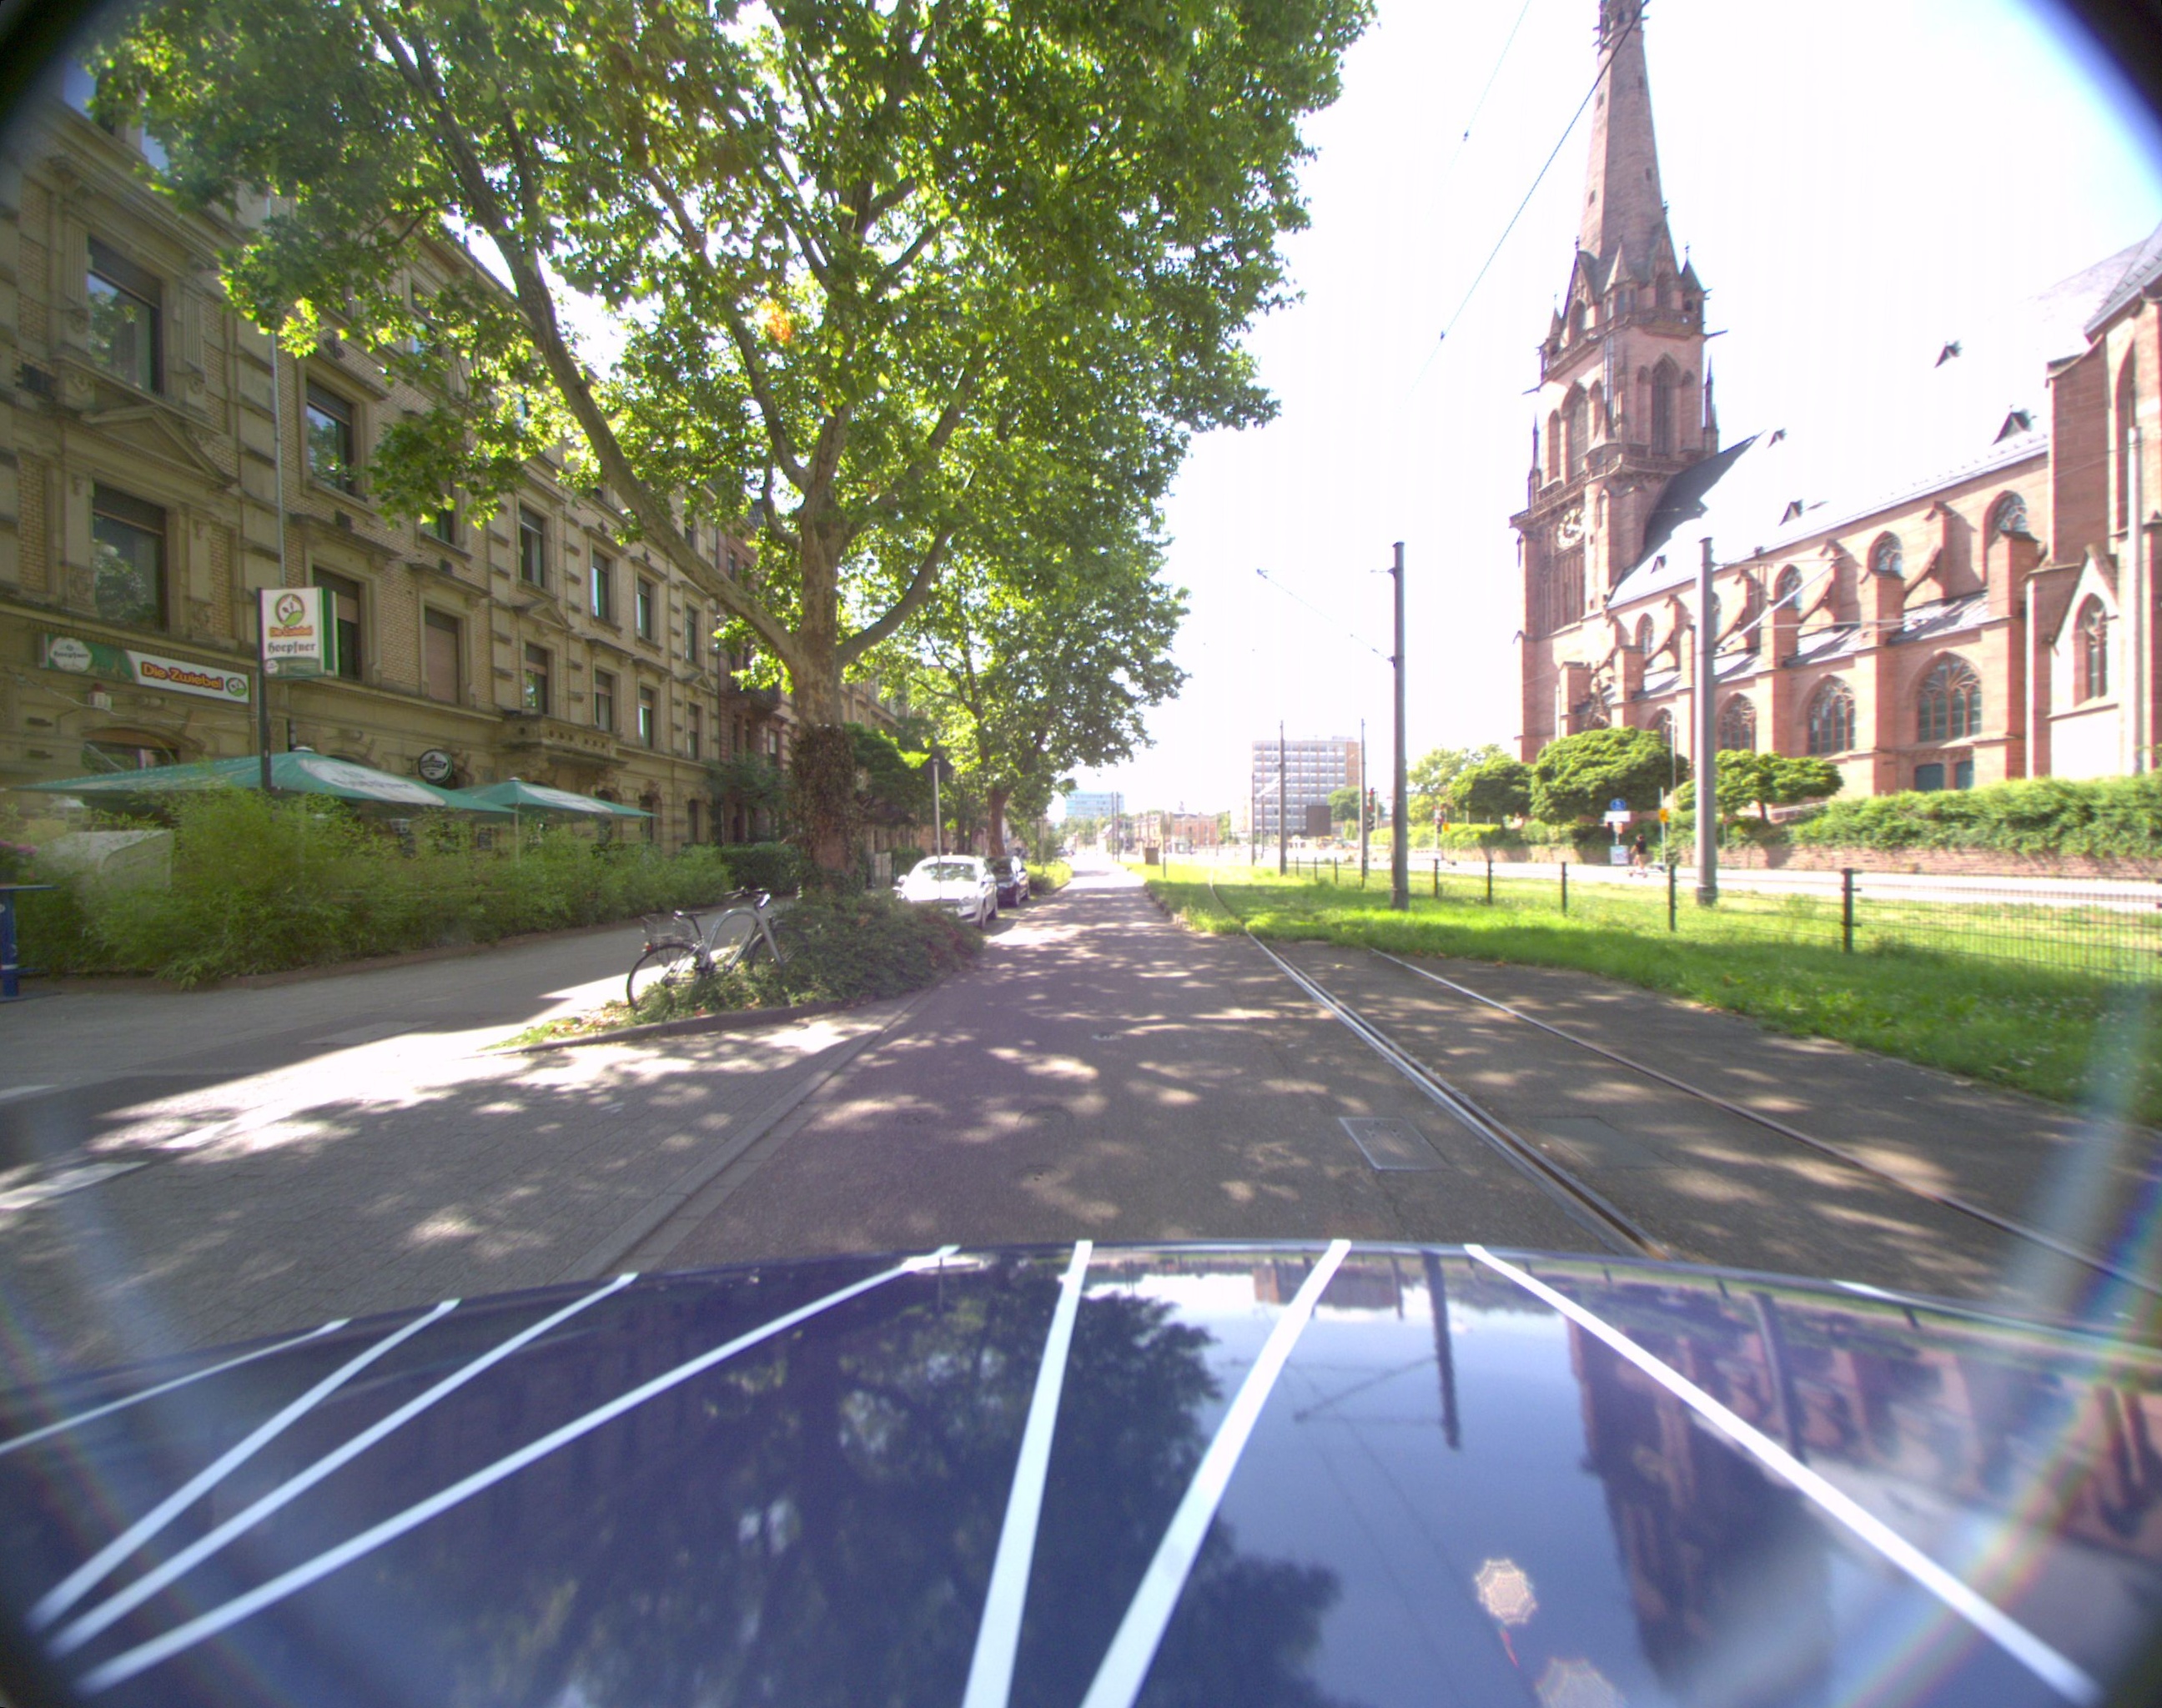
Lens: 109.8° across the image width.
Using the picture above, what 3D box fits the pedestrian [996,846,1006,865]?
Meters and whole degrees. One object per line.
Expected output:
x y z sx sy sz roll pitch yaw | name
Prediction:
-7.605 0.130 72.121 0.797 1.708 0.967 -1 1 1 | pedestrian

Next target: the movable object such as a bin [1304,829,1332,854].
37.992 -1.999 121.872 3.340 3.859 2.931 -1 1 -32 | movable object such as a bin

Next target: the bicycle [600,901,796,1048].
-3.511 1.050 7.108 0.421 1.099 1.619 0 1 33 | bicycle

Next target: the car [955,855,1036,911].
-2.517 0.808 23.381 1.838 1.499 4.643 -1 1 1 | car

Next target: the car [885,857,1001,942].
-2.775 0.843 16.290 1.838 1.499 4.490 -1 1 -3 | car

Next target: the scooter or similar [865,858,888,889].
-8.347 0.787 31.025 0.583 1.240 1.145 -1 1 1 | scooter or similar

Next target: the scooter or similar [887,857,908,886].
-8.143 0.770 33.746 0.583 1.275 1.145 -1 1 3 | scooter or similar

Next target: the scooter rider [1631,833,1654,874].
25.388 -0.025 34.343 0.670 1.856 0.662 -2 1 -37 | scooter rider

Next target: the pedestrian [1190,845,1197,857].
15.691 -0.468 106.348 0.860 1.644 0.759 -1 1 1 | pedestrian

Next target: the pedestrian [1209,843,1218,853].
25.503 -1.196 146.000 1.426 1.796 1.422 -1 1 -3 | pedestrian

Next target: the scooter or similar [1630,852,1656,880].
25.403 0.537 34.353 1.273 1.197 0.655 -2 1 -38 | scooter or similar

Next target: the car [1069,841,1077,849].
-2.083 -2.356 204.766 1.998 2.002 4.000 -1 1 1 | car
